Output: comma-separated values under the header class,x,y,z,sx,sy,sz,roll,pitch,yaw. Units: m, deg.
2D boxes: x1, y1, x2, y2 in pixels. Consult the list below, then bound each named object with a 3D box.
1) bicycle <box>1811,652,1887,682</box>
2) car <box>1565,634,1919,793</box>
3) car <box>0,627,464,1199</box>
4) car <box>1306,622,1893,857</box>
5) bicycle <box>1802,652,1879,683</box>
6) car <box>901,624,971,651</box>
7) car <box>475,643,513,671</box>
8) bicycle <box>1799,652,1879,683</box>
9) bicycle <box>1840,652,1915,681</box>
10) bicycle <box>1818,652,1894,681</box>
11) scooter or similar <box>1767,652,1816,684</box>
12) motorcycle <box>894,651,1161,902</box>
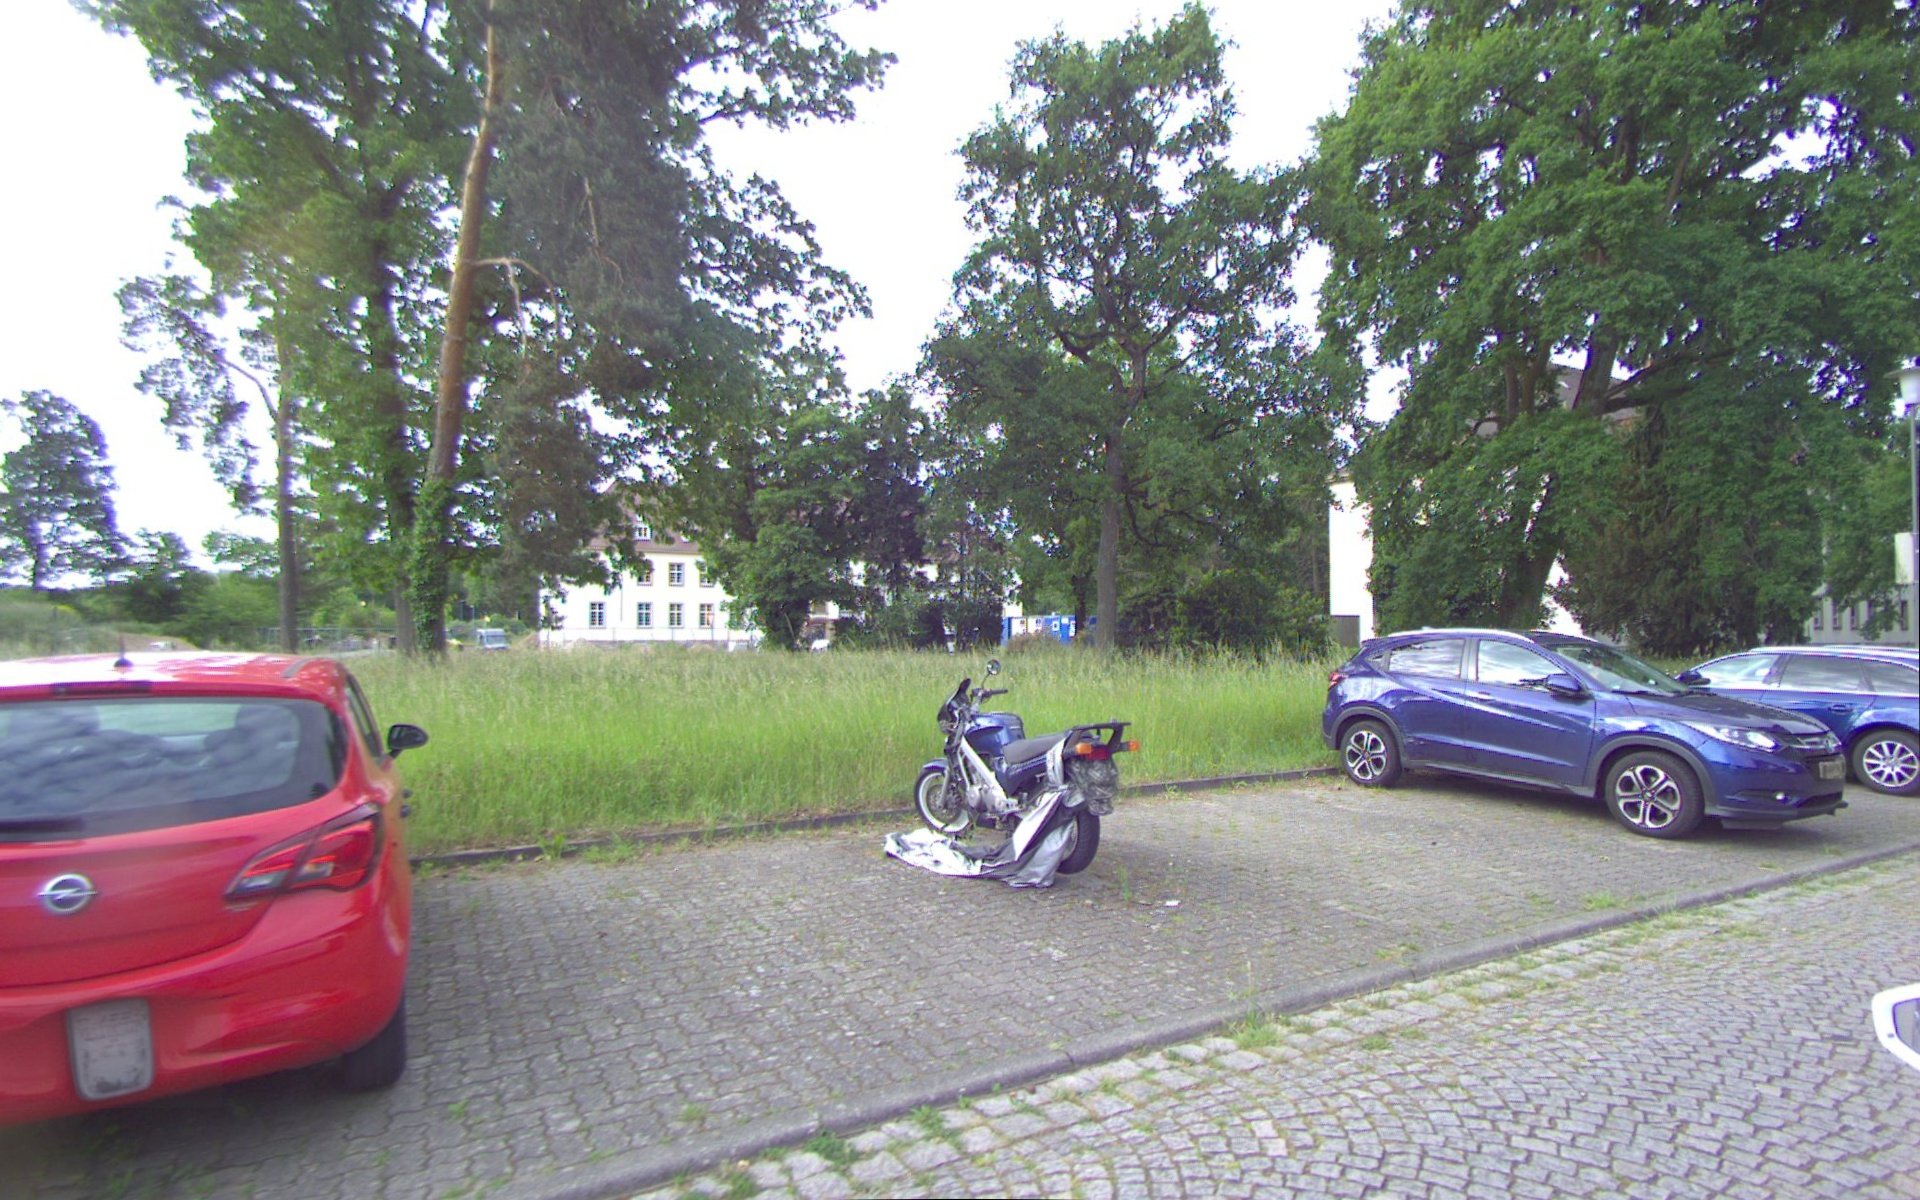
class,x,y,z,sx,sy,sz,roll,pitch,yaw
bicycle,31.309,2.339,35.415,1.931,1.002,0.625,-1,-2,35
car,9.607,1.167,11.457,1.950,1.480,4.286,1,-1,-28
car,-3.358,0.907,4.352,1.883,1.545,4.035,1,-2,-30
car,5.508,1.014,9.259,1.865,1.598,4.207,1,-1,-30
bicycle,30.010,2.281,34.274,1.934,1.002,0.624,-2,-2,39
car,-1.854,2.934,77.868,5.163,2.040,1.987,2,-3,-27
car,-39.958,4.844,86.153,1.981,2.229,4.987,1,-2,-37
bicycle,29.654,2.263,33.917,1.931,1.002,0.625,-1,-2,35
bicycle,33.345,2.399,36.541,0.622,1.002,1.942,1,-3,-39
bicycle,32.349,2.384,36.288,0.622,1.002,1.942,1,-3,-39
scooter or similar,28.449,2.320,34.380,0.445,1.051,1.352,0,-2,-8
motorcycle,0.347,1.045,6.789,0.710,1.309,2.265,1,-1,-28
